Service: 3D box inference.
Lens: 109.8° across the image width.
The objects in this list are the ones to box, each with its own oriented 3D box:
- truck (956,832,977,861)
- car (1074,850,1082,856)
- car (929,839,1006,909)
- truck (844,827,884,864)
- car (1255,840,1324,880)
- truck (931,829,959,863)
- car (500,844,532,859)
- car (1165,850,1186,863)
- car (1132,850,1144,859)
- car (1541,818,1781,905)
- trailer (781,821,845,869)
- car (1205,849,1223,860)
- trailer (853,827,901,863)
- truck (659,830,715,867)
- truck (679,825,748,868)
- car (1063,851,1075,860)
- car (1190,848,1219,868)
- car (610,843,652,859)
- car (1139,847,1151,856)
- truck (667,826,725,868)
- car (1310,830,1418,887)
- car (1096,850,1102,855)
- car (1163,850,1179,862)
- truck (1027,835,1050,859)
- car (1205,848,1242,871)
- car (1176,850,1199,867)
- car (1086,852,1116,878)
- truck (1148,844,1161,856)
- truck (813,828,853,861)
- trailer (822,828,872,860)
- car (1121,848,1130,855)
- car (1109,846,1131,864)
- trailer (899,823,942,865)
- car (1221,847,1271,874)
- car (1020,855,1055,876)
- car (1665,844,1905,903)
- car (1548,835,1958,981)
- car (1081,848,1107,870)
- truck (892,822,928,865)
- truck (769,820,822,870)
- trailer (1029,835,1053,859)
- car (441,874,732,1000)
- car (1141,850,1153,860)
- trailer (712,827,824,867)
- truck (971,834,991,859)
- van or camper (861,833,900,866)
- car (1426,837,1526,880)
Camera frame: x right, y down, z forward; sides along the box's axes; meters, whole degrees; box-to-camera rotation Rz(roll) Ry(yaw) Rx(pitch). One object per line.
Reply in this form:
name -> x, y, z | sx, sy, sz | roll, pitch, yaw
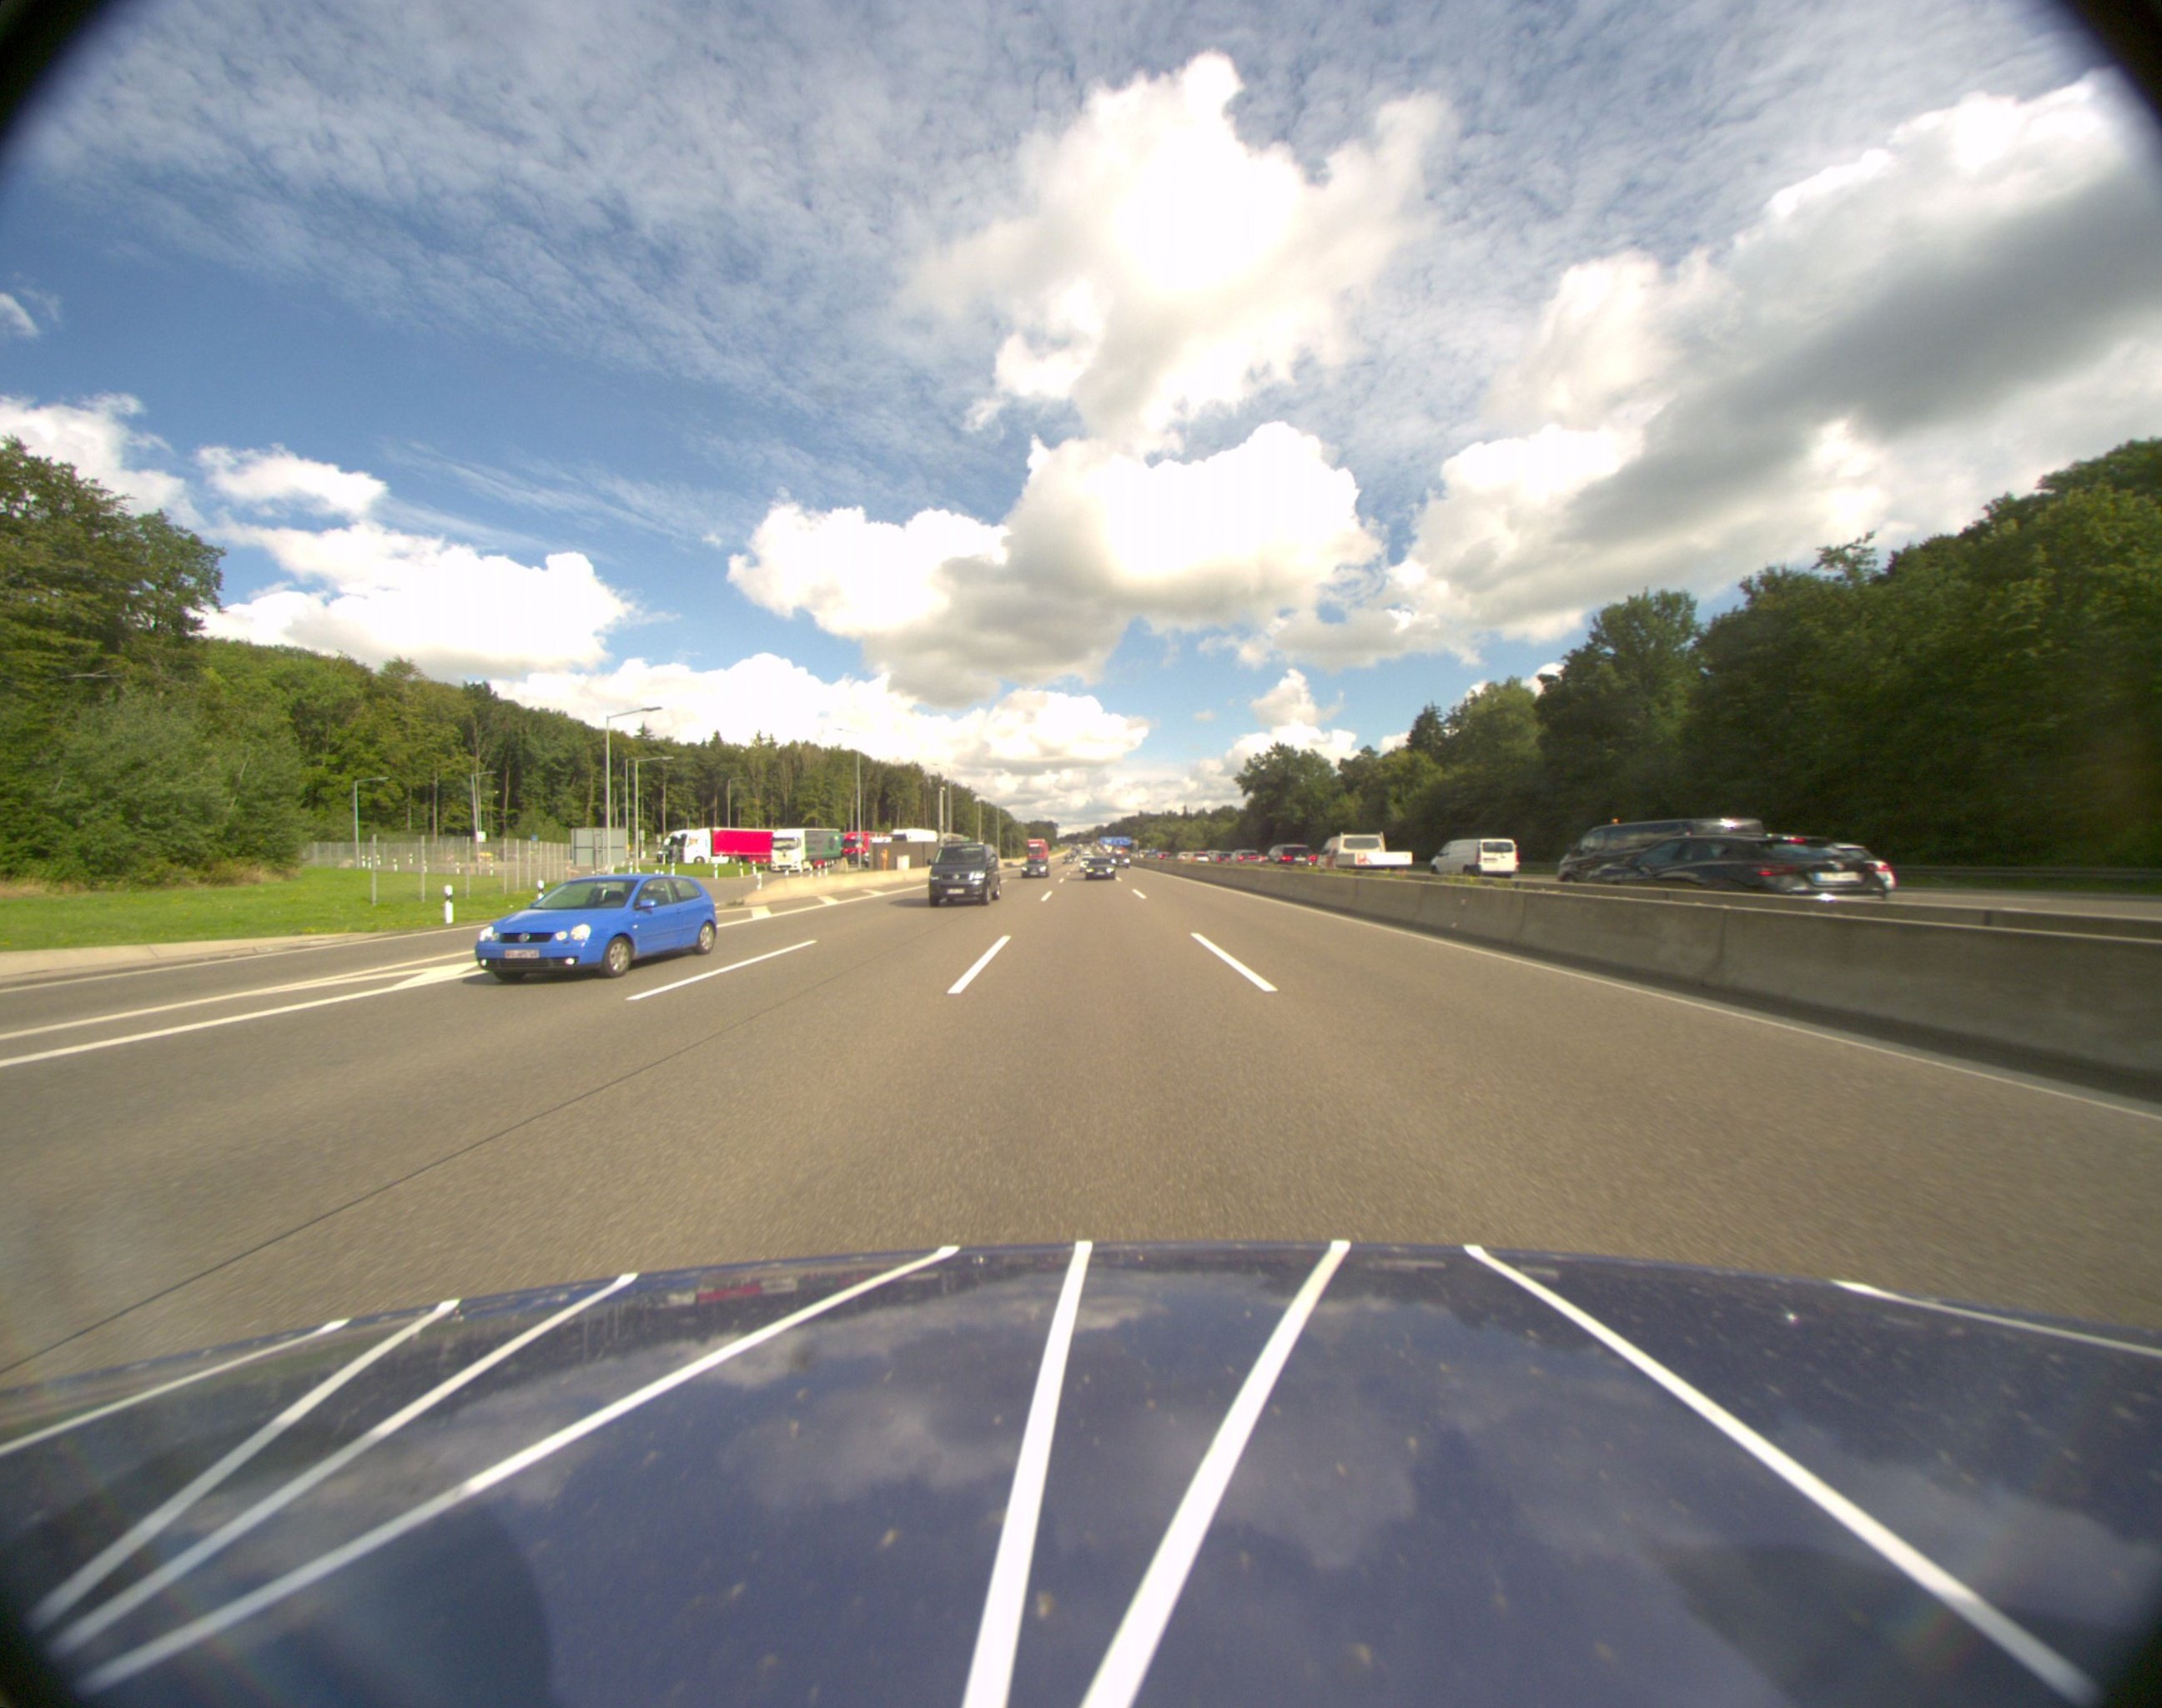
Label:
truck -> -19.936, -1.272, 132.545 | 2.661, 4.896, 6.968 | 0, 0, 0
car -> -0.906, -0.245, 211.630 | 2.153, 1.540, 4.677 | -1, 0, 1
car -> -3.751, 0.613, 25.970 | 1.854, 2.097, 4.932 | -2, 0, 0
truck -> -27.264, -1.018, 95.695 | 2.878, 4.481, 7.036 | -1, 0, 1
car -> 10.800, 0.289, 39.775 | 2.176, 1.936, 5.396 | -1, 0, 1
truck -> -19.972, -1.191, 111.920 | 2.661, 4.896, 7.261 | 0, 0, 0
car -> -62.599, -0.289, 84.213 | 3.988, 1.674, 1.962 | 0, 1, 40
car -> 11.276, 0.288, 90.745 | 1.998, 1.543, 4.000 | -1, 0, 1
car -> 10.772, 0.081, 143.161 | 1.998, 1.543, 4.000 | -1, 0, 1
car -> 13.726, 0.143, 18.513 | 1.998, 1.794, 5.125 | -1, 0, 1
trailer -> -27.290, -0.887, 78.183 | 2.880, 4.480, 12.996 | 0, 0, -4
car -> 18.814, 0.065, 107.557 | 1.988, 1.608, 4.000 | -1, 0, 1
trailer -> -27.260, -1.101, 102.344 | 2.879, 4.480, 13.691 | -1, 0, 0
truck -> -45.399, -0.607, 87.537 | 5.181, 4.094, 2.565 | -1, 1, -43
truck -> -40.060, -0.836, 82.924 | 6.109, 4.481, 2.873 | -2, 1, -43
car -> -2.322, 0.256, 146.419 | 2.153, 1.540, 4.677 | -1, 0, 1
car -> 10.610, 0.345, 65.484 | 1.746, 1.608, 4.550 | -1, 0, 1
car -> -56.337, -0.385, 95.129 | 3.997, 1.904, 2.000 | 0, 1, -1
car -> 11.085, -0.385, 131.694 | 1.634, 1.543, 4.000 | -1, 0, 1
truck -> -43.175, -0.797, 85.258 | 5.132, 4.482, 2.889 | -1, 1, -44
car -> 10.776, 0.153, 29.499 | 2.164, 2.002, 5.822 | 0, 0, 1
car -> 6.036, -0.470, 252.973 | 1.892, 1.783, 4.000 | 0, 0, 1
car -> 11.792, 0.268, 99.725 | 1.642, 1.543, 4.000 | -1, 0, 1
truck -> -6.547, -1.095, 118.281 | 3.017, 3.662, 7.561 | -1, 0, 1
car -> 10.617, 0.372, 56.955 | 1.998, 1.608, 4.550 | -1, 0, 1
car -> 10.221, 0.405, 73.390 | 1.665, 1.608, 4.000 | -1, 0, 1
car -> 1.218, 0.653, 47.176 | 1.733, 1.500, 4.728 | -2, 0, 1
truck -> 15.532, -0.779, 160.723 | 2.368, 2.444, 5.239 | 0, 0, 1
truck -> -31.881, -1.234, 97.899 | 2.982, 4.001, 6.254 | -2, 1, 0
trailer -> -31.873, -1.315, 104.022 | 2.999, 4.001, 12.076 | -2, 1, 0
car -> 10.114, -0.578, 173.494 | 1.998, 1.543, 4.000 | -1, 0, 1
car -> 4.250, 0.046, 83.003 | 2.152, 1.800, 5.099 | -2, 1, 1
trailer -> -20.249, -1.202, 96.746 | 2.661, 4.896, 13.111 | 0, 0, 0
car -> 10.375, 0.373, 48.054 | 2.176, 1.608, 4.550 | -1, 0, 1
car -> -3.078, 0.777, 55.092 | 2.153, 1.426, 5.099 | -1, 0, 1
car -> 17.429, 0.427, 19.191 | 1.869, 1.294, 4.550 | 0, 0, 1
car -> 9.910, 0.668, 11.950 | 2.176, 1.790, 4.876 | -1, 0, 1
car -> 1.186, 0.433, 68.516 | 2.152, 1.800, 5.099 | -2, 1, 1
truck -> -20.266, -1.208, 90.222 | 2.661, 4.896, 6.985 | 0, 0, 0
truck -> -26.684, -0.818, 71.425 | 2.880, 4.481, 7.173 | 0, 0, -6
trailer -> -6.489, -1.155, 124.566 | 3.017, 3.662, 13.575 | -1, 0, 1
car -> -7.159, 1.098, 11.583 | 1.654, 1.433, 4.000 | -2, 0, 2
car -> 10.404, 0.160, 120.133 | 1.698, 1.543, 4.000 | -1, 0, 1
trailer -> -35.668, -0.902, 87.021 | 11.406, 4.348, 2.838 | -2, 1, -43
truck -> -19.640, -1.467, 149.949 | 2.661, 4.896, 7.385 | 0, 0, 2
van or camper -> -20.198, -0.418, 76.790 | 2.393, 3.179, 4.744 | -1, 0, 4
car -> 18.335, 0.191, 35.567 | 1.955, 1.840, 5.342 | 0, 0, 1
